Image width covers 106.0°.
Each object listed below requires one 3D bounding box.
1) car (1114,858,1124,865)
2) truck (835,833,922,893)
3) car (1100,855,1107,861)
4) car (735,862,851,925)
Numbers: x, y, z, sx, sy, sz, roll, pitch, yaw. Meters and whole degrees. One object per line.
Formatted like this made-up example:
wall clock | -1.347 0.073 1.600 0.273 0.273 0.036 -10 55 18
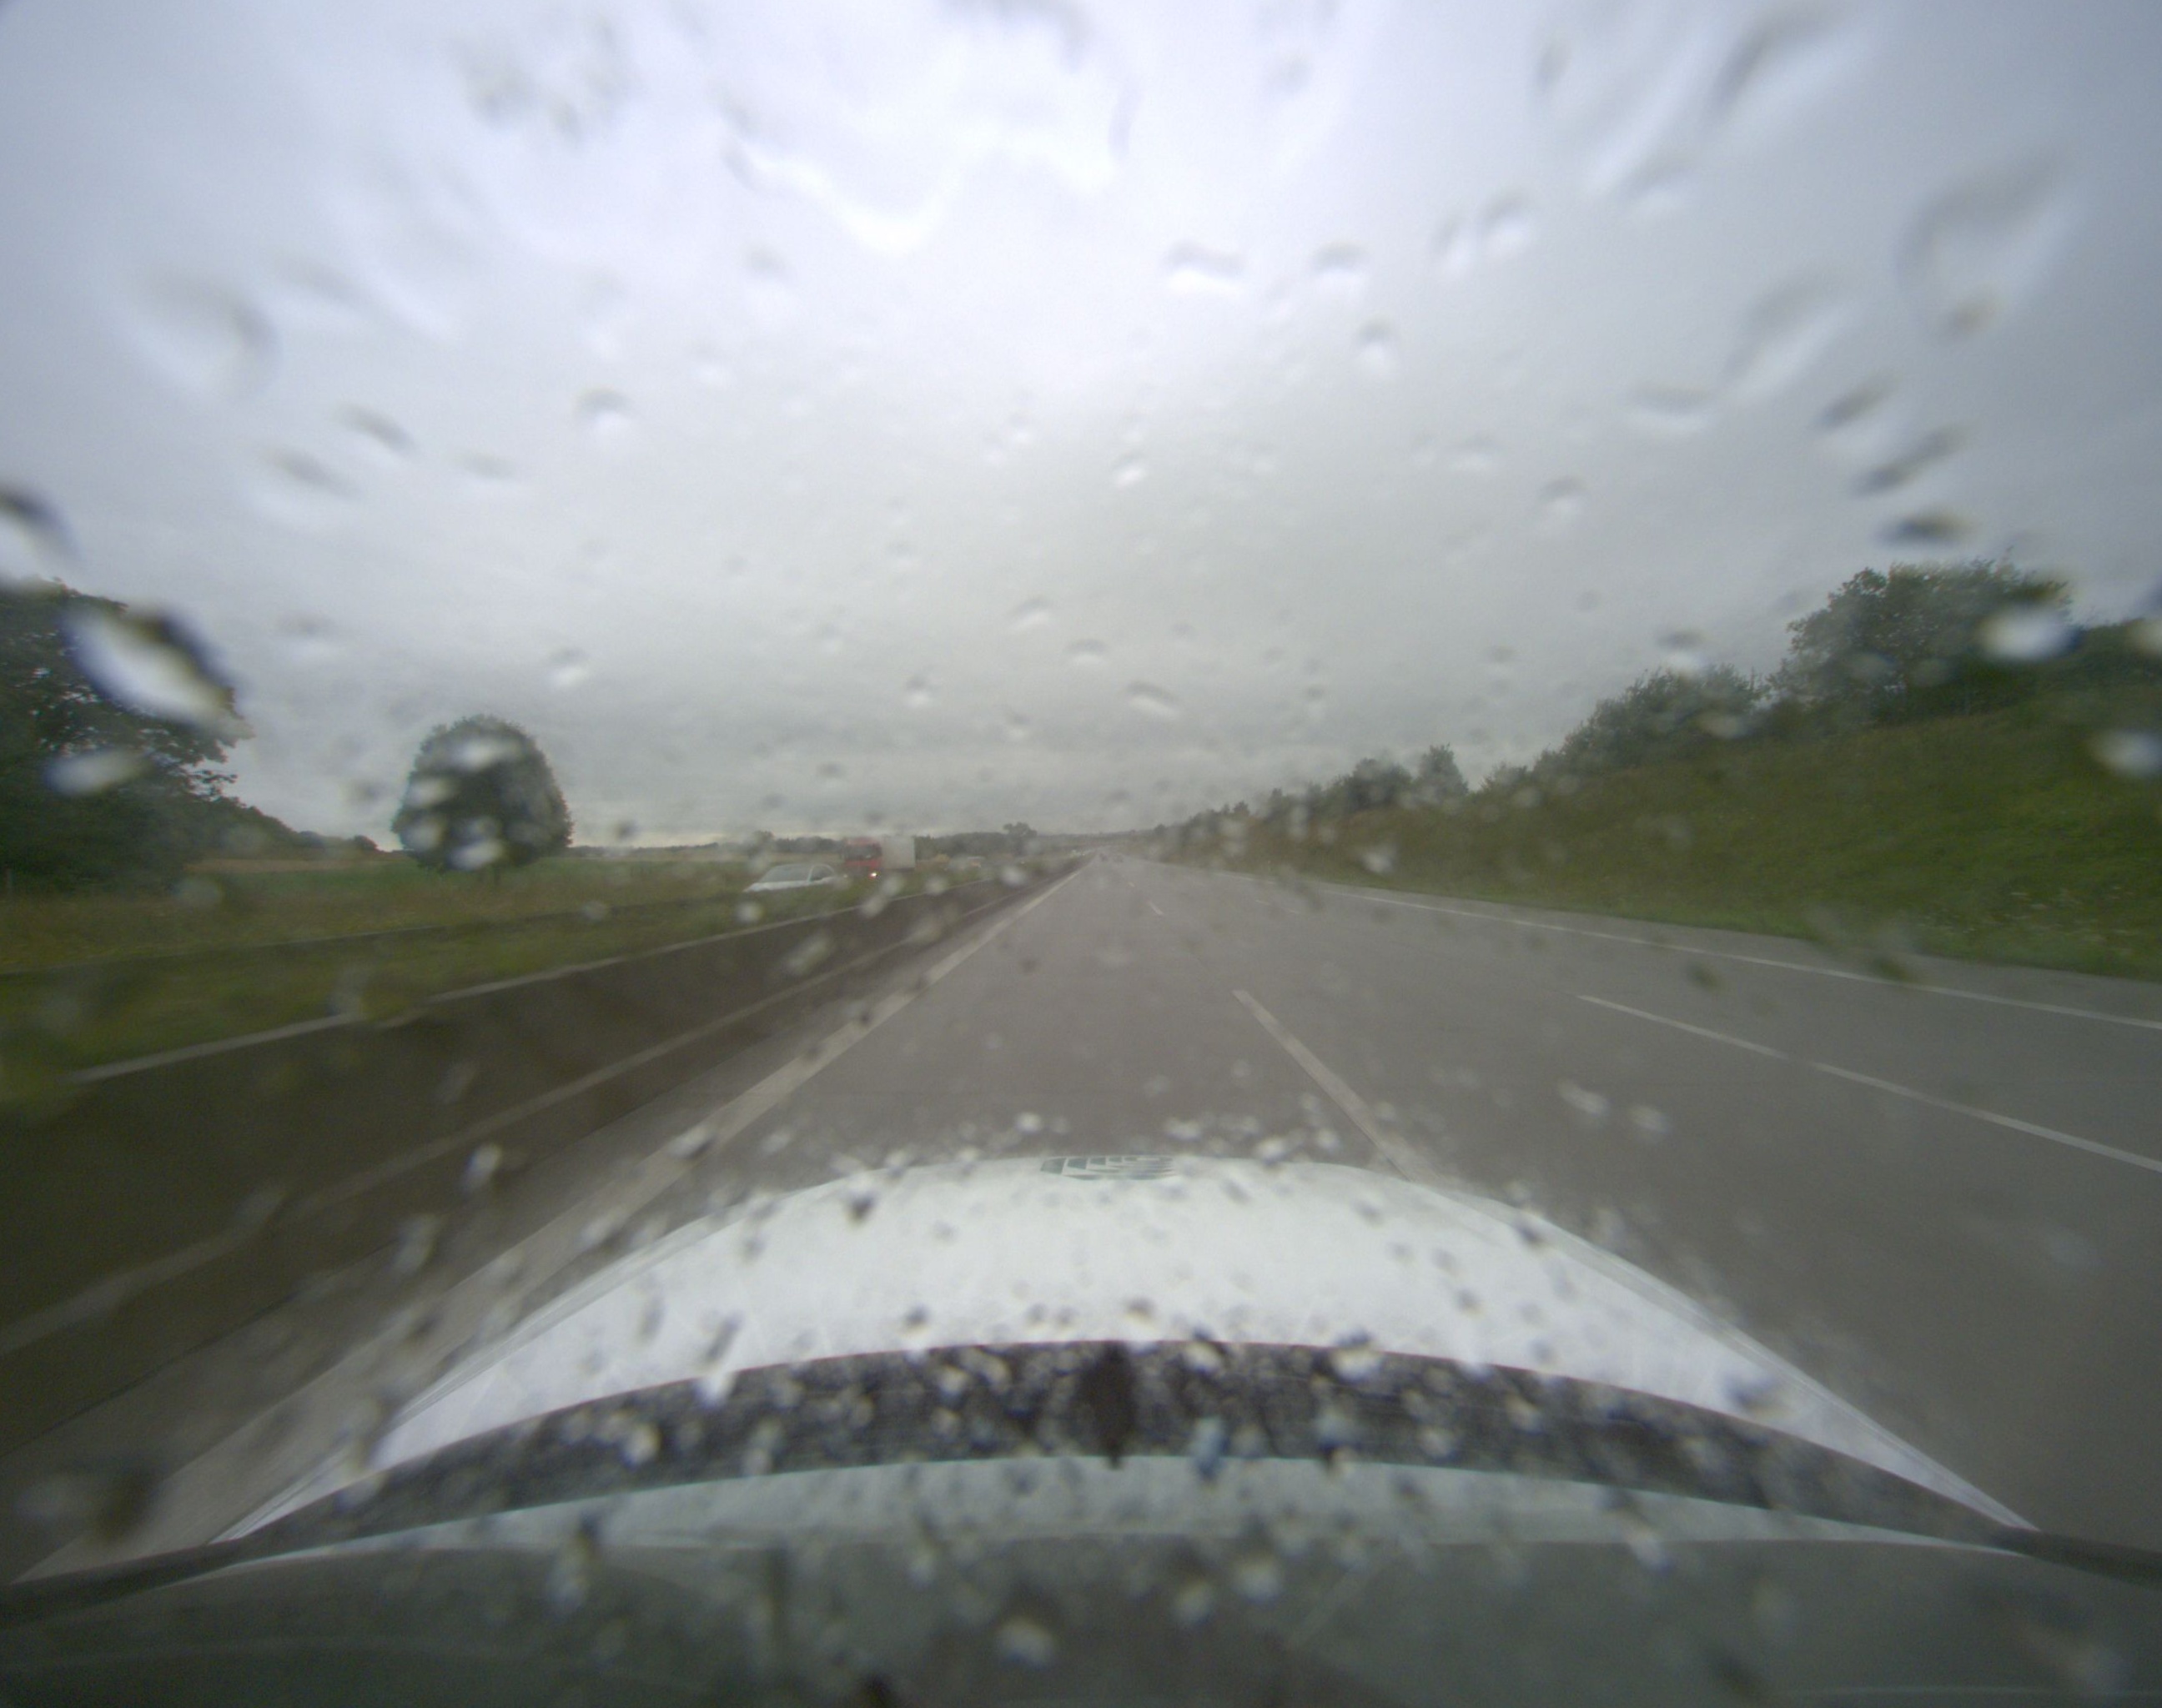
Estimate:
car | 7.664 1.462 165.956 1.842 1.331 4.430 -1 1 0
truck | -14.747 0.514 60.607 2.892 3.855 12.454 -2 1 1
car | 5.191 0.968 187.367 1.722 1.331 4.432 -1 1 2
car | -8.176 1.057 23.554 1.646 1.542 4.455 -2 0 1
